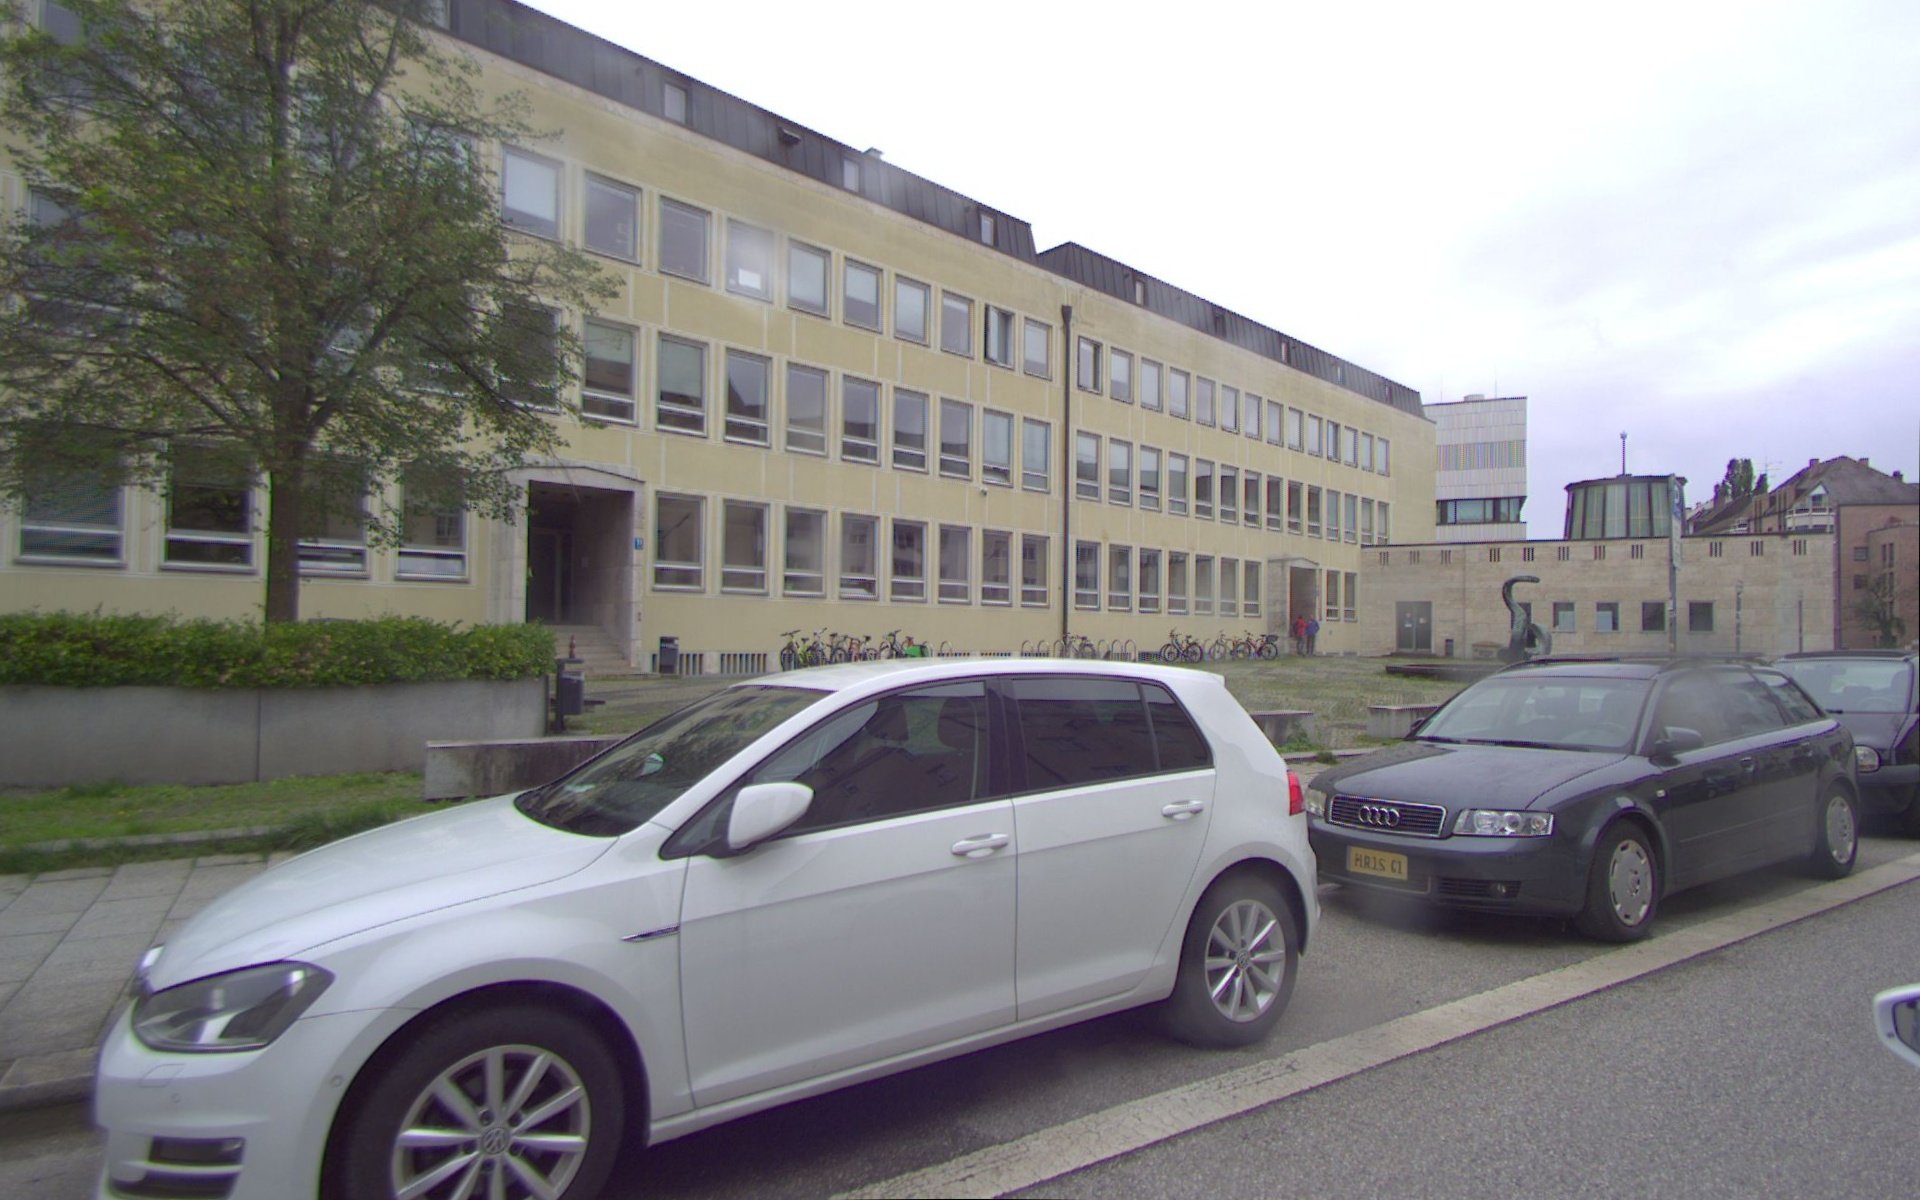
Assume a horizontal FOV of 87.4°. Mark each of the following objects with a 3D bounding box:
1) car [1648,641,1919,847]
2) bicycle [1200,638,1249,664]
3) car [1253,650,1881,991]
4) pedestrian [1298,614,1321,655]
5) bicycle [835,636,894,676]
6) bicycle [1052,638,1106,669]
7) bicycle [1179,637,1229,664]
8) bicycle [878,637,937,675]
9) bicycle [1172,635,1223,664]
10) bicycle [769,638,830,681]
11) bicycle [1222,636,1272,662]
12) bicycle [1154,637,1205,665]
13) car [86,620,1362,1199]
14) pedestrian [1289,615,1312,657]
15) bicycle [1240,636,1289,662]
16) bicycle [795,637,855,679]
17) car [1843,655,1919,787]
[{"bbox_3d":[8.060,1.154,9.087,3.713,1.500,1.712,2,-4,-33],"label":"car"},{"bbox_3d":[10.283,1.970,39.100,0.435,0.929,1.882,2,0,-44],"label":"bicycle"},{"bbox_3d":[3.931,1.084,6.317,4.159,1.500,1.712,2,-4,-33],"label":"car"},{"bbox_3d":[15.354,1.523,44.085,0.706,1.767,0.643,2,0,42],"label":"pedestrian"},{"bbox_3d":[-2.507,1.449,26.217,0.435,0.929,1.882,2,0,-44],"label":"bicycle"},{"bbox_3d":[3.924,1.756,33.163,0.435,0.929,1.882,2,0,-44],"label":"bicycle"},{"bbox_3d":[9.223,1.891,38.004,0.435,0.929,1.882,2,0,-44],"label":"bicycle"},{"bbox_3d":[-1.448,1.508,27.251,0.435,0.929,1.882,2,0,-44],"label":"bicycle"},{"bbox_3d":[8.815,1.838,37.353,0.528,0.953,1.861,2,0,-41],"label":"bicycle"},{"bbox_3d":[-3.964,1.445,24.693,0.435,0.929,1.882,2,0,-44],"label":"bicycle"},{"bbox_3d":[11.217,1.910,39.262,0.435,0.929,1.882,2,0,-44],"label":"bicycle"},{"bbox_3d":[8.009,1.846,36.718,0.435,0.929,1.882,2,0,-44],"label":"bicycle"},{"bbox_3d":[-0.479,0.921,3.764,3.957,1.550,1.712,2,-4,-33],"label":"car"},{"bbox_3d":[14.677,1.534,43.262,0.706,1.767,0.643,2,0,42],"label":"pedestrian"},{"bbox_3d":[12.229,1.957,40.403,0.435,0.929,1.882,2,0,-44],"label":"bicycle"},{"bbox_3d":[-3.400,1.450,25.268,0.435,0.929,1.882,2,0,-44],"label":"bicycle"},{"bbox_3d":[11.952,1.332,11.470,4.167,1.381,1.712,2,-4,-33],"label":"car"}]
